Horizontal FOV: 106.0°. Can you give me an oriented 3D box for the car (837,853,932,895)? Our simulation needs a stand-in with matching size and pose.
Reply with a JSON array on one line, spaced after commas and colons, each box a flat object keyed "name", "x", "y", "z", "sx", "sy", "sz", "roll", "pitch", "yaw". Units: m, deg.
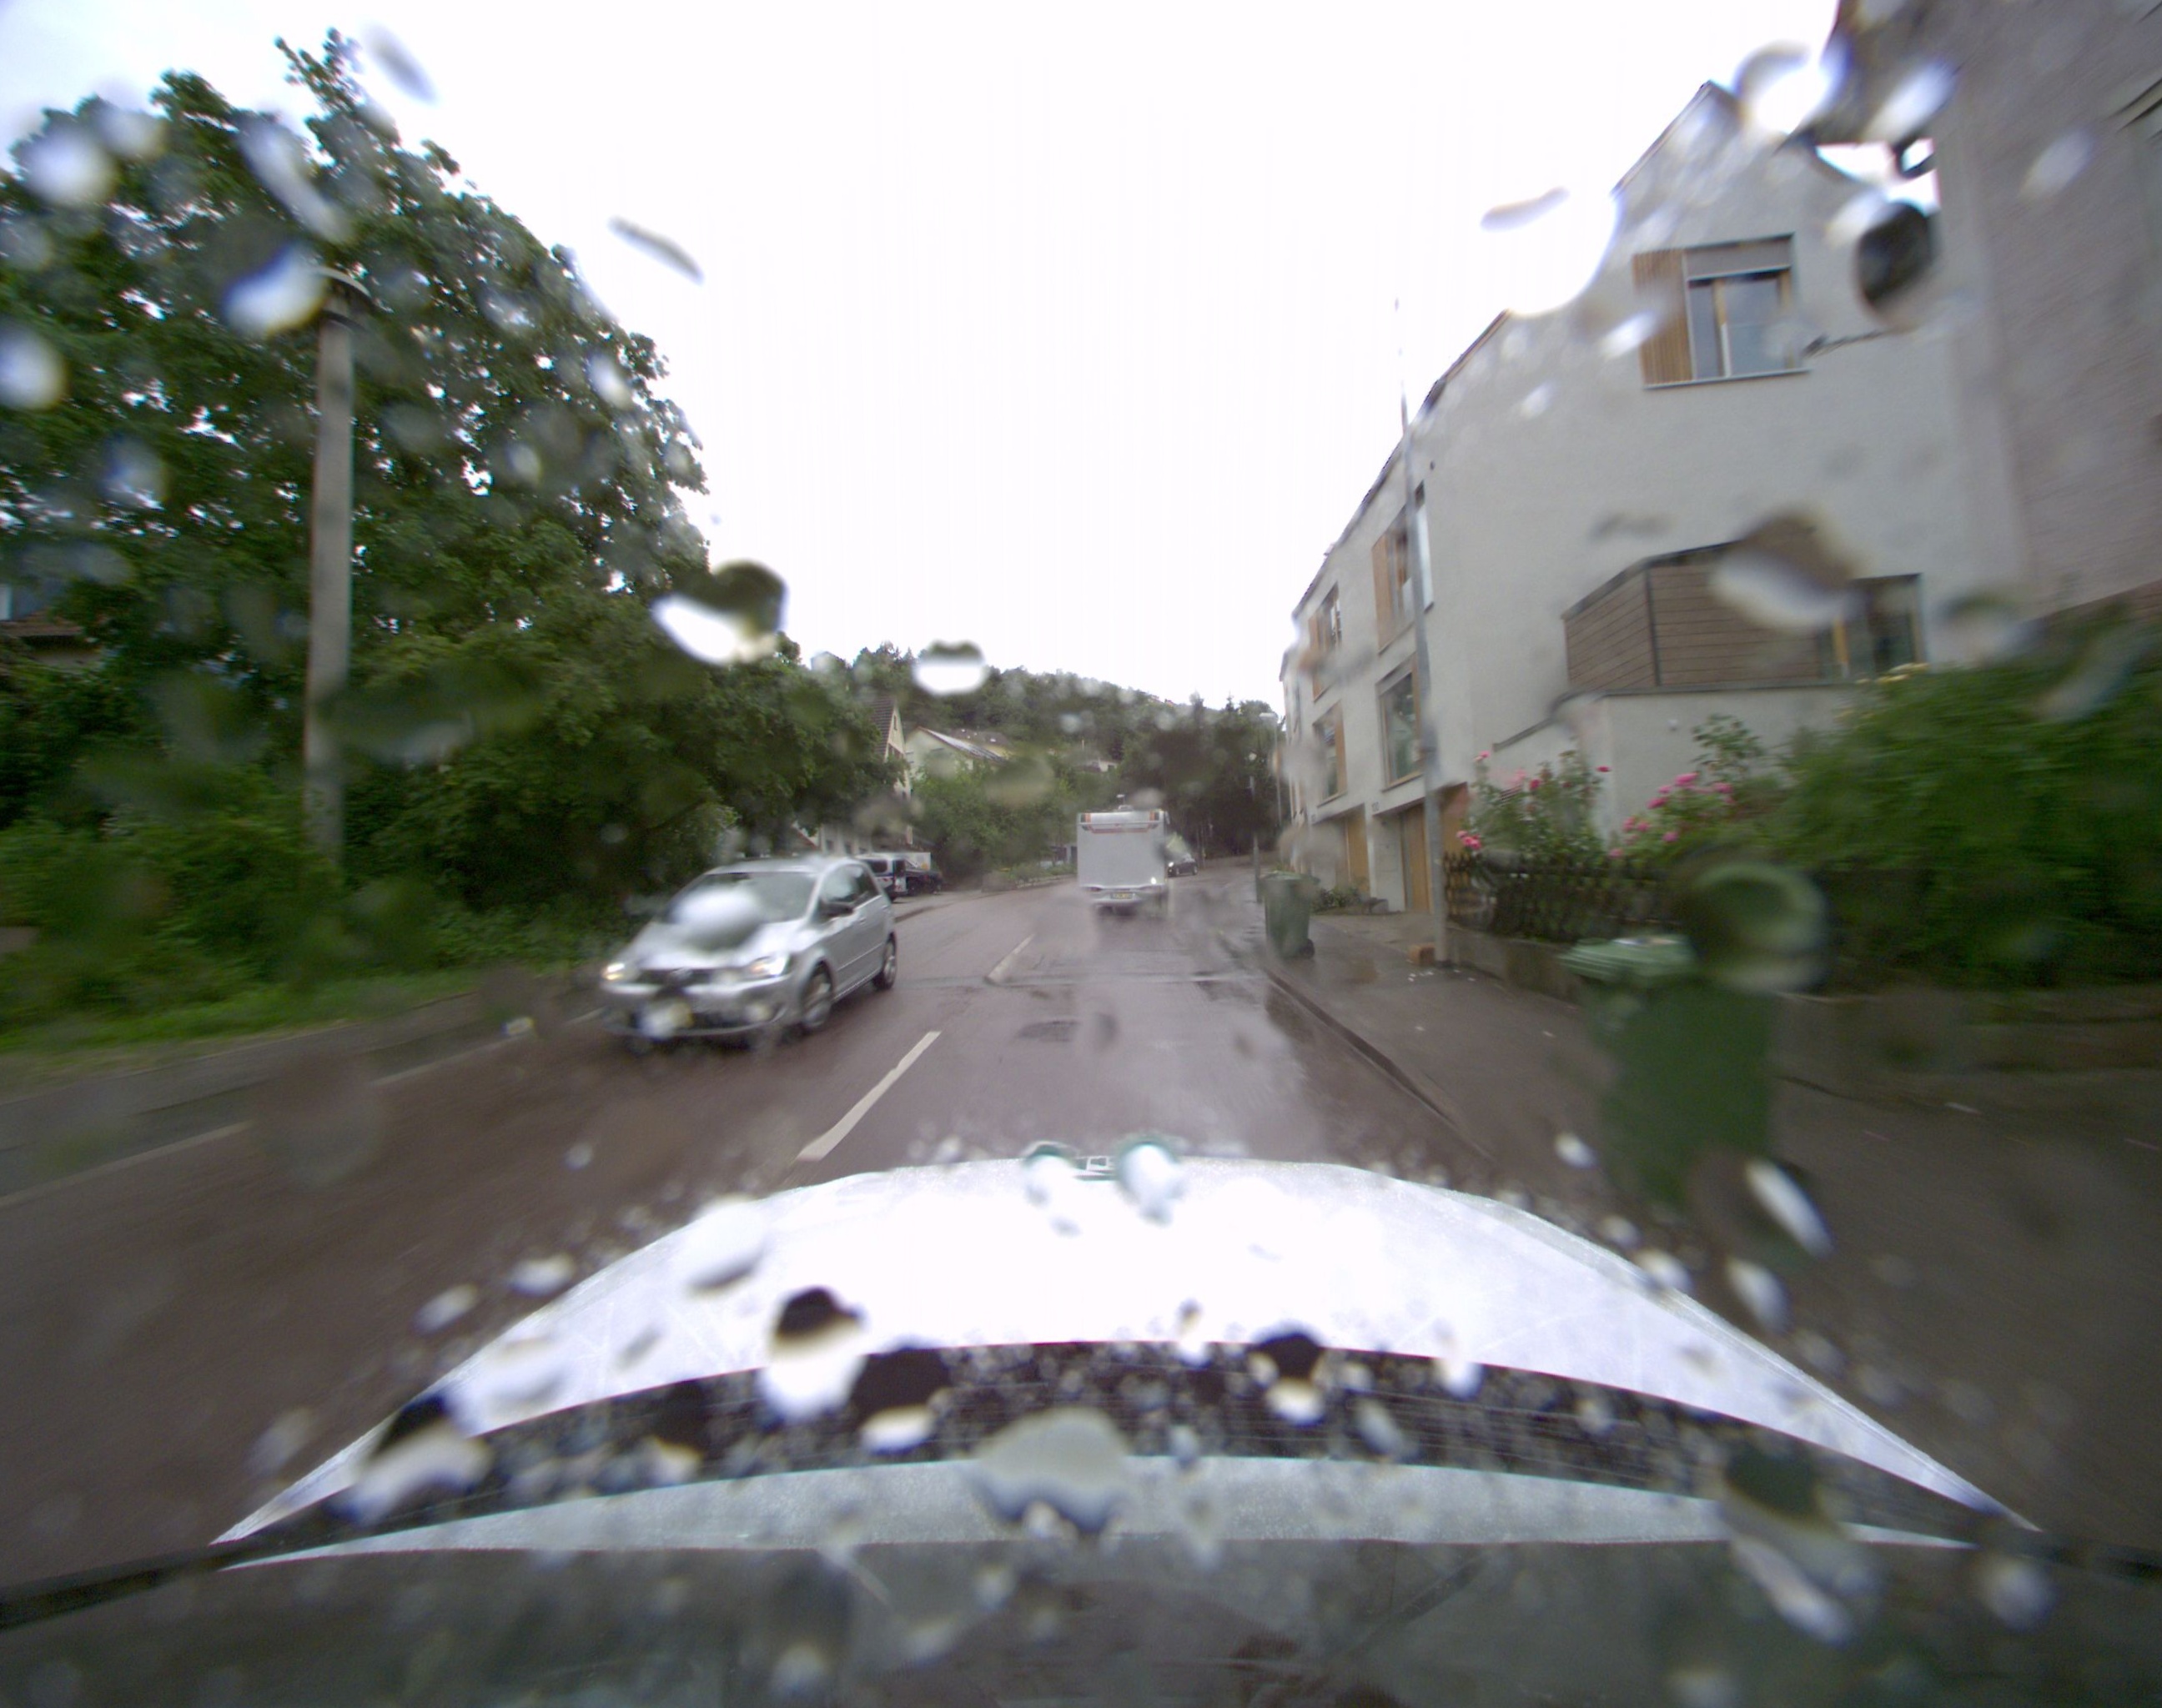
[{"name": "car", "x": -8.972, "y": 0.893, "z": 37.494, "sx": 4.074, "sy": 1.774, "sz": 1.794, "roll": -1, "pitch": 0, "yaw": -8}]

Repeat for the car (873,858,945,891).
[{"name": "car", "x": -8.421, "y": 1.008, "z": 40.102, "sx": 3.335, "sy": 1.485, "sz": 1.833, "roll": -1, "pitch": 0, "yaw": -10}]

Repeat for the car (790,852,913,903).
[{"name": "car", "x": -8.832, "y": 0.880, "z": 31.569, "sx": 4.089, "sy": 1.800, "sz": 2.002, "roll": -1, "pitch": 0, "yaw": 3}]

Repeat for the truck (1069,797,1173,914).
[{"name": "truck", "x": 1.190, "y": 0.027, "z": 23.184, "sx": 2.504, "sy": 2.817, "sz": 6.208, "roll": -1, "pitch": 0, "yaw": 4}]

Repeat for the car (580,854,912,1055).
[{"name": "car", "x": -3.053, "y": 0.795, "z": 8.385, "sx": 1.799, "sy": 1.553, "sz": 3.829, "roll": -1, "pitch": 0, "yaw": 0}]

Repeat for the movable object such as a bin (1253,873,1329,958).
[{"name": "movable object such as a bin", "x": 2.816, "y": 0.813, "z": 11.005, "sx": 0.832, "sy": 1.060, "sz": 0.750, "roll": -1, "pitch": 0, "yaw": 2}]

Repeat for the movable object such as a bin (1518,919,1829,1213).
[{"name": "movable object such as a bin", "x": 2.506, "y": 0.859, "z": 3.549, "sx": 0.793, "sy": 1.070, "sz": 0.761, "roll": -1, "pitch": 0, "yaw": 3}]

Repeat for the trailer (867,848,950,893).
[{"name": "trailer", "x": -9.145, "y": 0.861, "z": 43.191, "sx": 3.963, "sy": 2.102, "sz": 1.939, "roll": -3, "pitch": -1, "yaw": -21}]
